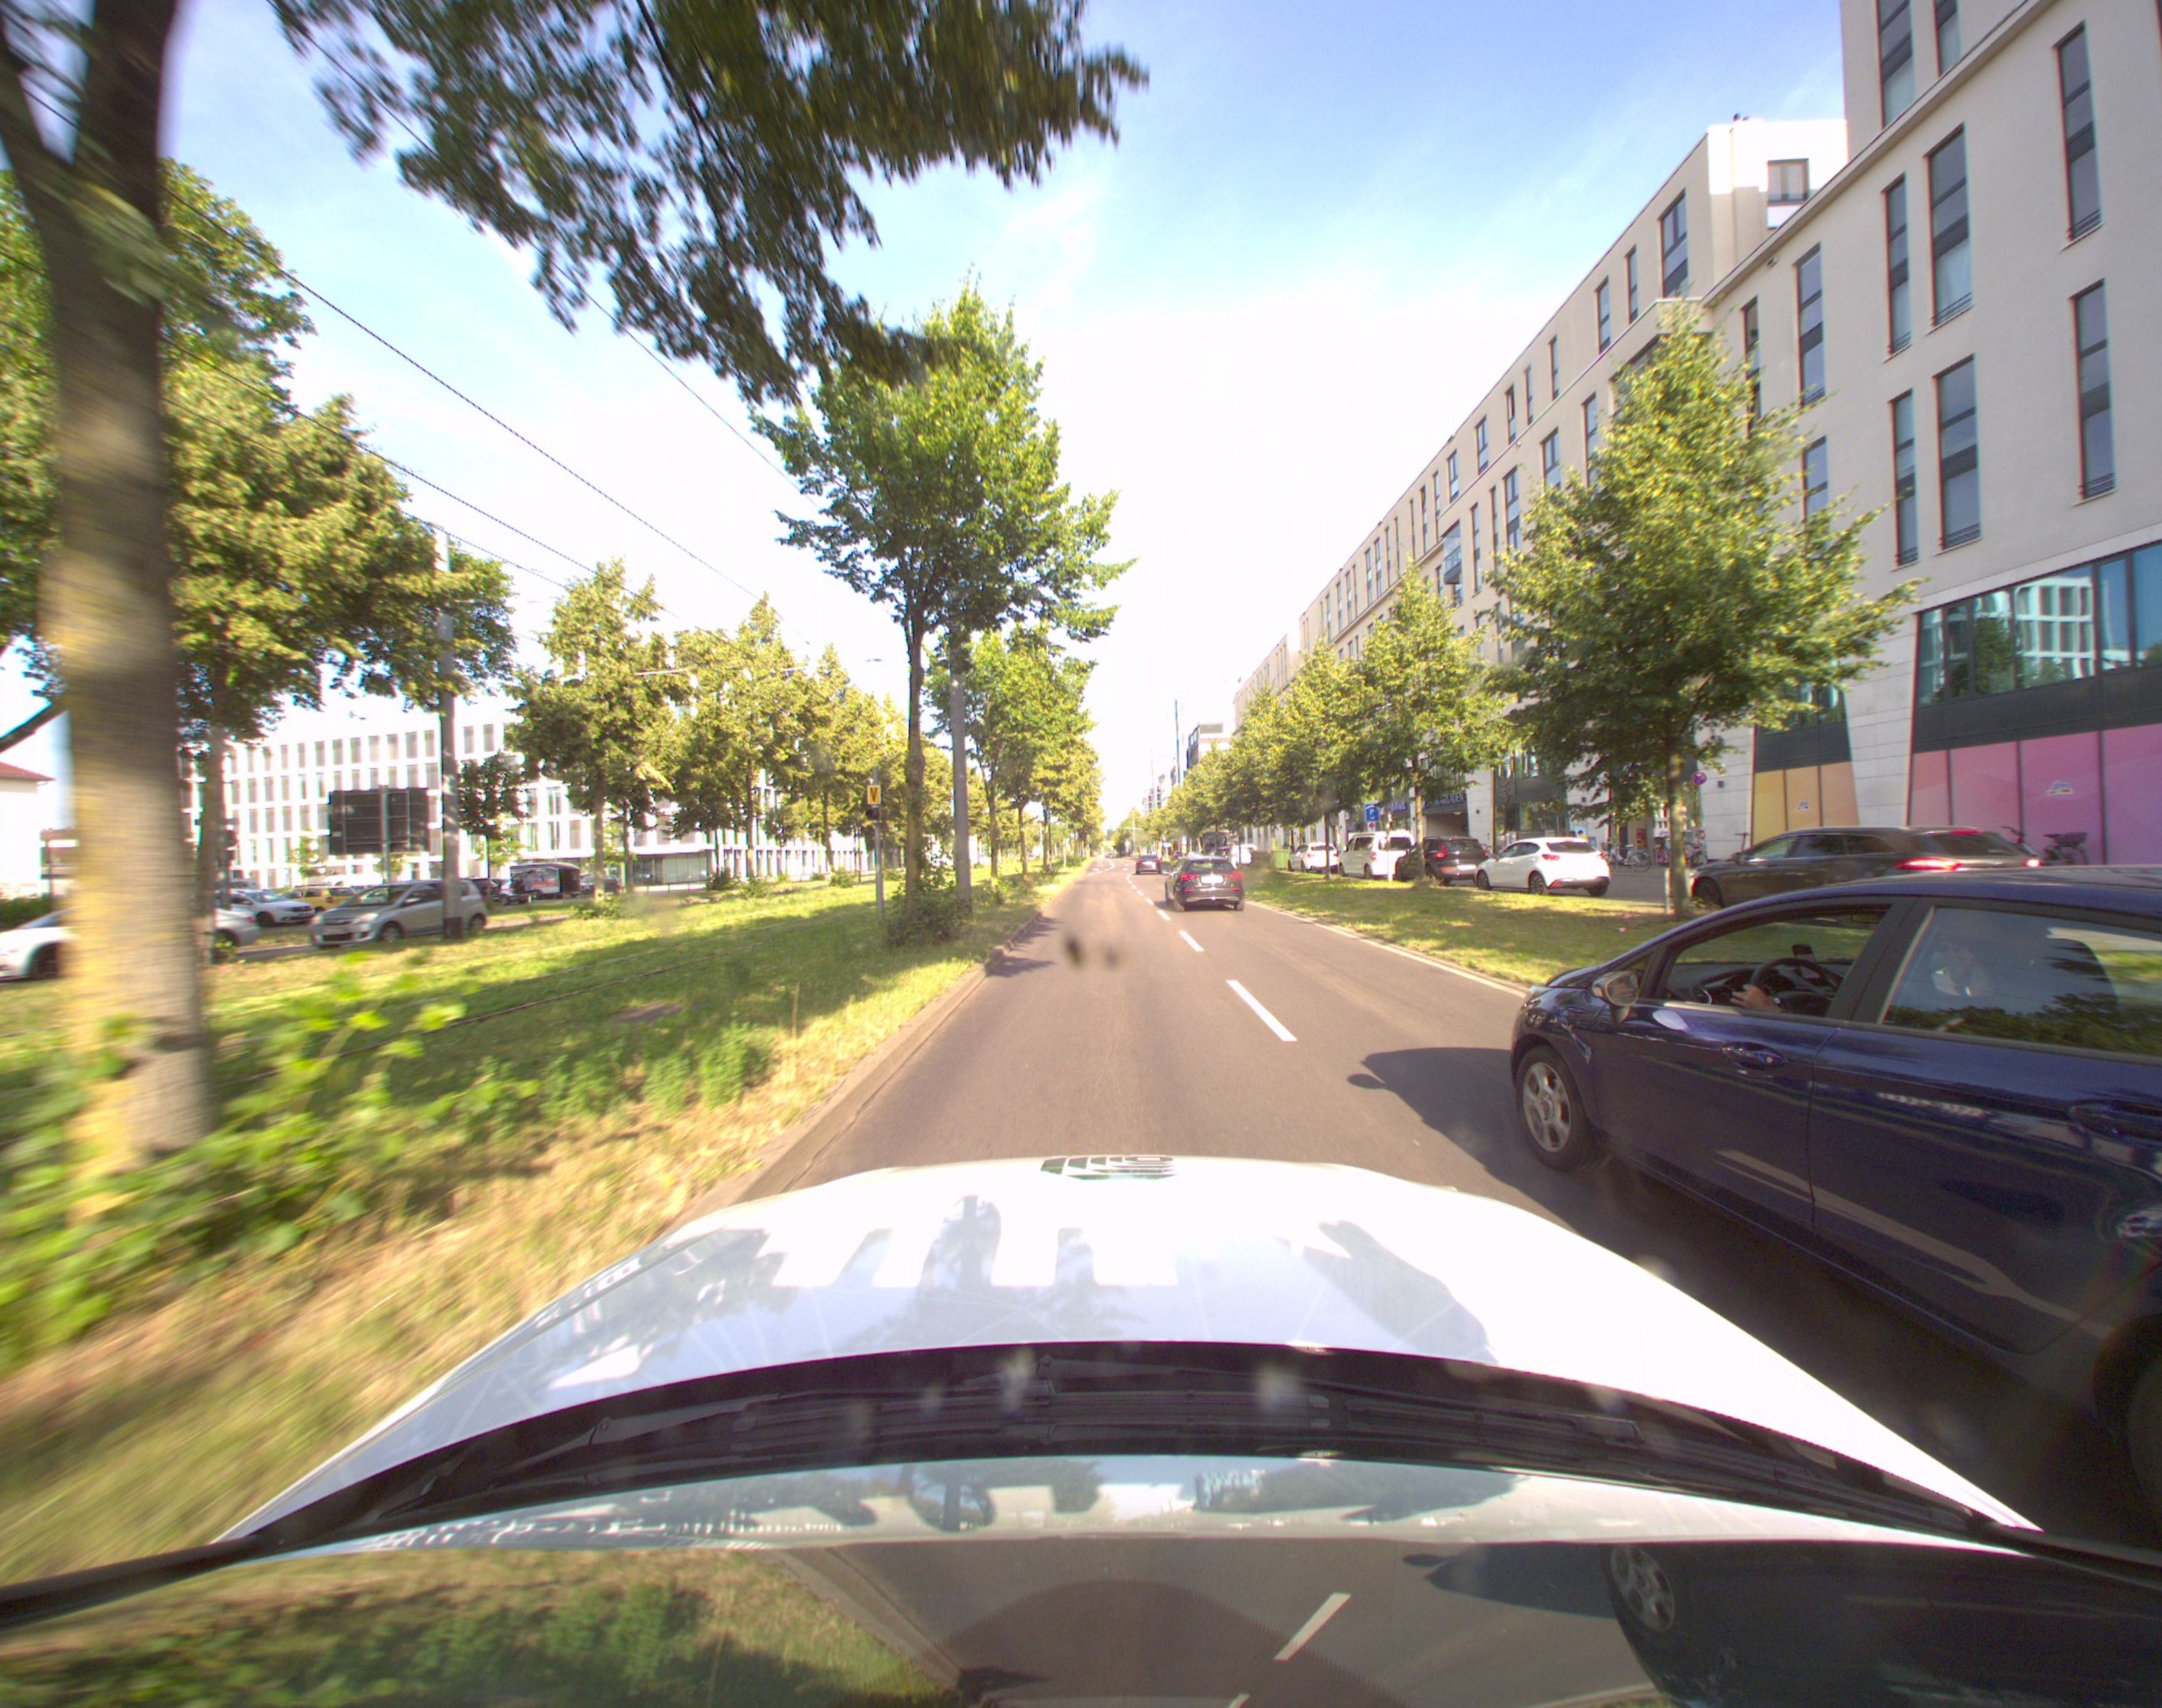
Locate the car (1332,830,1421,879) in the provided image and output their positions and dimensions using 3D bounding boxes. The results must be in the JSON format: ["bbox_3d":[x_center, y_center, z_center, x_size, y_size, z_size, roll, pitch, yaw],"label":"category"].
[{"bbox_3d":[12.261,0.046,34.175,1.832,1.876,5.028,0,-1,-1],"label":"car"}]

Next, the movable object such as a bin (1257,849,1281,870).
[{"bbox_3d":[12.193,0.356,52.940,1.274,1.318,1.190,0,-1,-2],"label":"movable object such as a bin"}]

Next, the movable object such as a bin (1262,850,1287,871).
[{"bbox_3d":[12.257,0.402,51.596,1.274,1.302,1.190,0,-1,-2],"label":"movable object such as a bin"}]

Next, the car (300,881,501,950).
[{"bbox_3d":[-15.918,1.385,19.331,1.577,1.393,3.697,0,-1,1],"label":"car"}]

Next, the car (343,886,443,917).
[{"bbox_3d":[-34.645,2.378,41.047,3.554,1.425,1.726,0,-1,1],"label":"car"}]

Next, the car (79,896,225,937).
[{"bbox_3d":[-35.857,2.399,31.496,3.631,1.428,1.811,0,-1,3],"label":"car"}]

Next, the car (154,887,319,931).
[{"bbox_3d":[-35.142,2.265,33.959,5.038,1.735,1.887,0,-1,3],"label":"car"}]

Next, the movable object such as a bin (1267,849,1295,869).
[{"bbox_3d":[12.307,0.322,50.102,1.385,1.237,1.343,-1,-1,28],"label":"movable object such as a bin"}]

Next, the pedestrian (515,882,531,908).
[{"bbox_3d":[-31.946,2.333,46.654,0.520,1.480,0.568,0,-1,0],"label":"pedestrian"}]

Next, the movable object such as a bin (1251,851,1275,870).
[{"bbox_3d":[12.127,0.440,54.300,1.274,1.237,1.190,0,-1,-2],"label":"movable object such as a bin"}]

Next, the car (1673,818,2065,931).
[{"bbox_3d":[11.756,0.288,12.751,1.721,1.432,4.725,0,-1,3],"label":"car"}]

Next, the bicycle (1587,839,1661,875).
[{"bbox_3d":[19.543,0.109,29.341,2.085,1.099,0.422,-6,-1,17],"label":"bicycle"}]

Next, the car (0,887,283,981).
[{"bbox_3d":[-19.333,1.526,16.376,1.676,1.476,4.814,-4,-1,1],"label":"car"}]

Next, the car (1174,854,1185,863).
[{"bbox_3d":[14.488,0.659,119.691,1.598,1.370,4.164,0,-1,6],"label":"car"}]

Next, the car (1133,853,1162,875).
[{"bbox_3d":[4.703,0.684,58.070,1.853,1.524,3.787,0,-1,2],"label":"car"}]

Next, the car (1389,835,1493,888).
[{"bbox_3d":[12.039,0.246,27.545,1.721,1.650,4.341,0,-1,2],"label":"car"}]

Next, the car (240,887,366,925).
[{"bbox_3d":[-34.836,2.320,36.529,3.970,1.560,1.857,0,-1,3],"label":"car"}]

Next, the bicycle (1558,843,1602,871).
[{"bbox_3d":[19.348,0.130,31.612,0.417,1.000,2.044,-5,-1,2],"label":"bicycle"}]

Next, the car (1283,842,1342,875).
[{"bbox_3d":[12.556,0.224,44.501,1.725,1.630,4.847,-2,0,-1],"label":"car"}]

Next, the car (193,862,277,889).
[{"bbox_3d":[-69.883,1.710,67.366,1.836,2.158,4.510,-1,-1,13],"label":"car"}]

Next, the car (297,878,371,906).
[{"bbox_3d":[-73.023,3.676,79.738,1.791,2.532,5.052,-1,-1,18],"label":"car"}]

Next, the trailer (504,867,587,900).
[{"bbox_3d":[-34.382,1.882,52.318,4.339,2.054,1.762,0,-1,8],"label":"trailer"}]

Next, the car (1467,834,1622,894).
[{"bbox_3d":[11.955,0.261,21.346,1.611,1.412,4.165,0,-1,-1],"label":"car"}]

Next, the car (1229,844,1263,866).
[{"bbox_3d":[13.225,0.115,65.586,1.822,1.711,4.293,0,-1,-1],"label":"car"}]

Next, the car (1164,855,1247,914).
[{"bbox_3d":[3.277,0.775,22.095,1.767,1.424,3.962,0,-1,2],"label":"car"}]

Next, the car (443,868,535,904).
[{"bbox_3d":[-33.736,1.815,46.497,3.977,1.947,1.758,0,-1,1],"label":"car"}]

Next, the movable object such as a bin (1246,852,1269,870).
[{"bbox_3d":[12.061,0.480,55.661,1.274,1.237,1.190,0,-1,-2],"label":"movable object such as a bin"}]

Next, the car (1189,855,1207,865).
[{"bbox_3d":[14.134,0.751,98.550,1.702,1.242,3.905,0,-1,0],"label":"car"}]

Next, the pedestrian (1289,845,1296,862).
[{"bbox_3d":[22.170,-0.026,85.260,0.535,1.763,0.646,0,-1,1],"label":"pedestrian"}]

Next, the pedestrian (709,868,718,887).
[{"bbox_3d":[-34.559,2.188,76.553,0.565,1.728,0.692,0,-1,1],"label":"pedestrian"}]

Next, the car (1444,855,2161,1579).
[{"bbox_3d":[2.924,0.723,2.928,1.554,1.424,3.908,0,-1,1],"label":"car"}]

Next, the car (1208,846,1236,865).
[{"bbox_3d":[13.401,0.097,77.755,1.891,1.708,4.677,0,0,0],"label":"car"}]

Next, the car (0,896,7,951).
[{"bbox_3d":[-29.091,1.802,19.354,1.676,1.435,4.036,0,-1,1],"label":"car"}]

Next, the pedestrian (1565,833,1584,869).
[{"bbox_3d":[21.133,-0.116,34.864,0.590,1.522,0.518,-1,-1,40],"label":"pedestrian"}]
